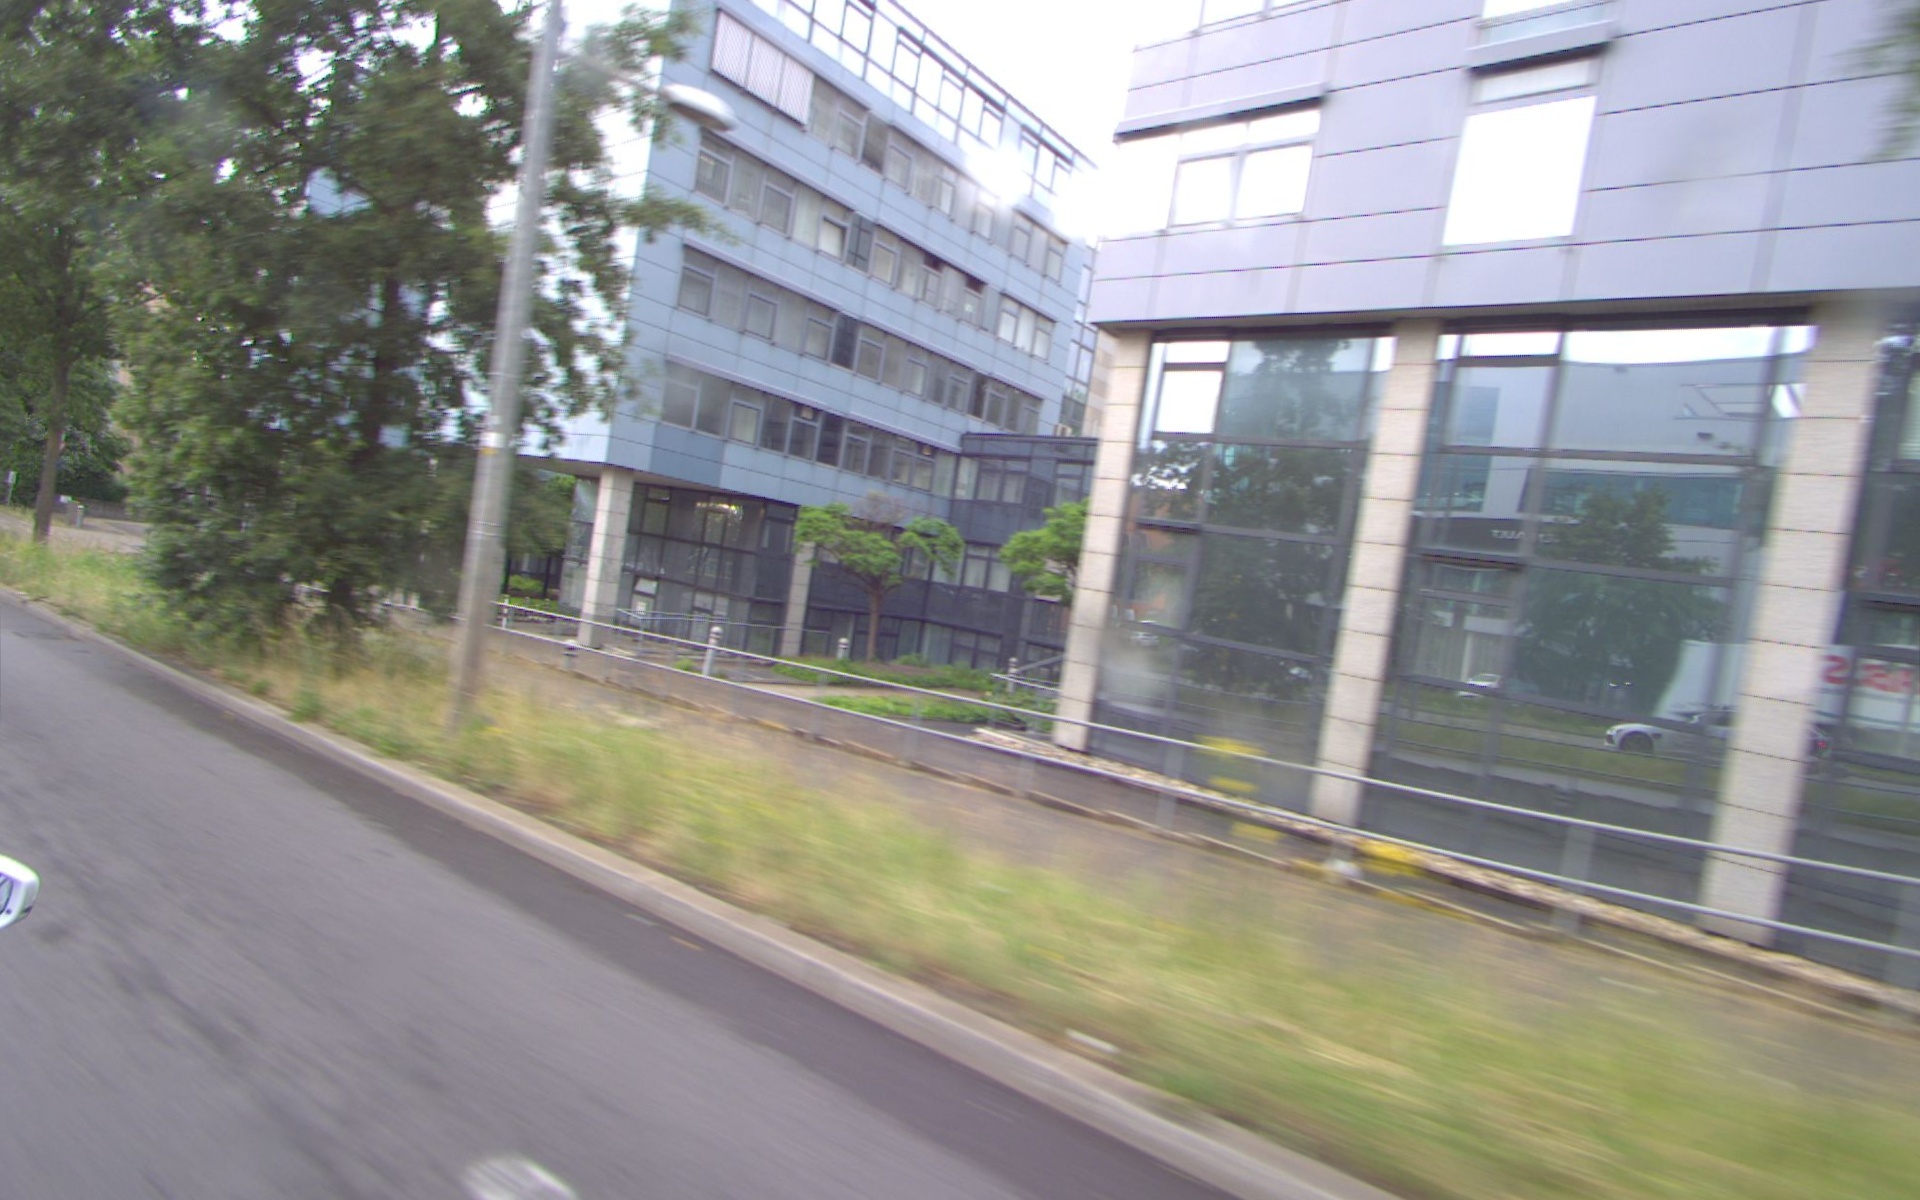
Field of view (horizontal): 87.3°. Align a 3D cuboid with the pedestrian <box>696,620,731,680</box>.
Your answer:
[{"bbox_3d":[-6.180,1.266,25.245,0.450,1.425,0.503,7,-1,38],"label":"pedestrian"}]
